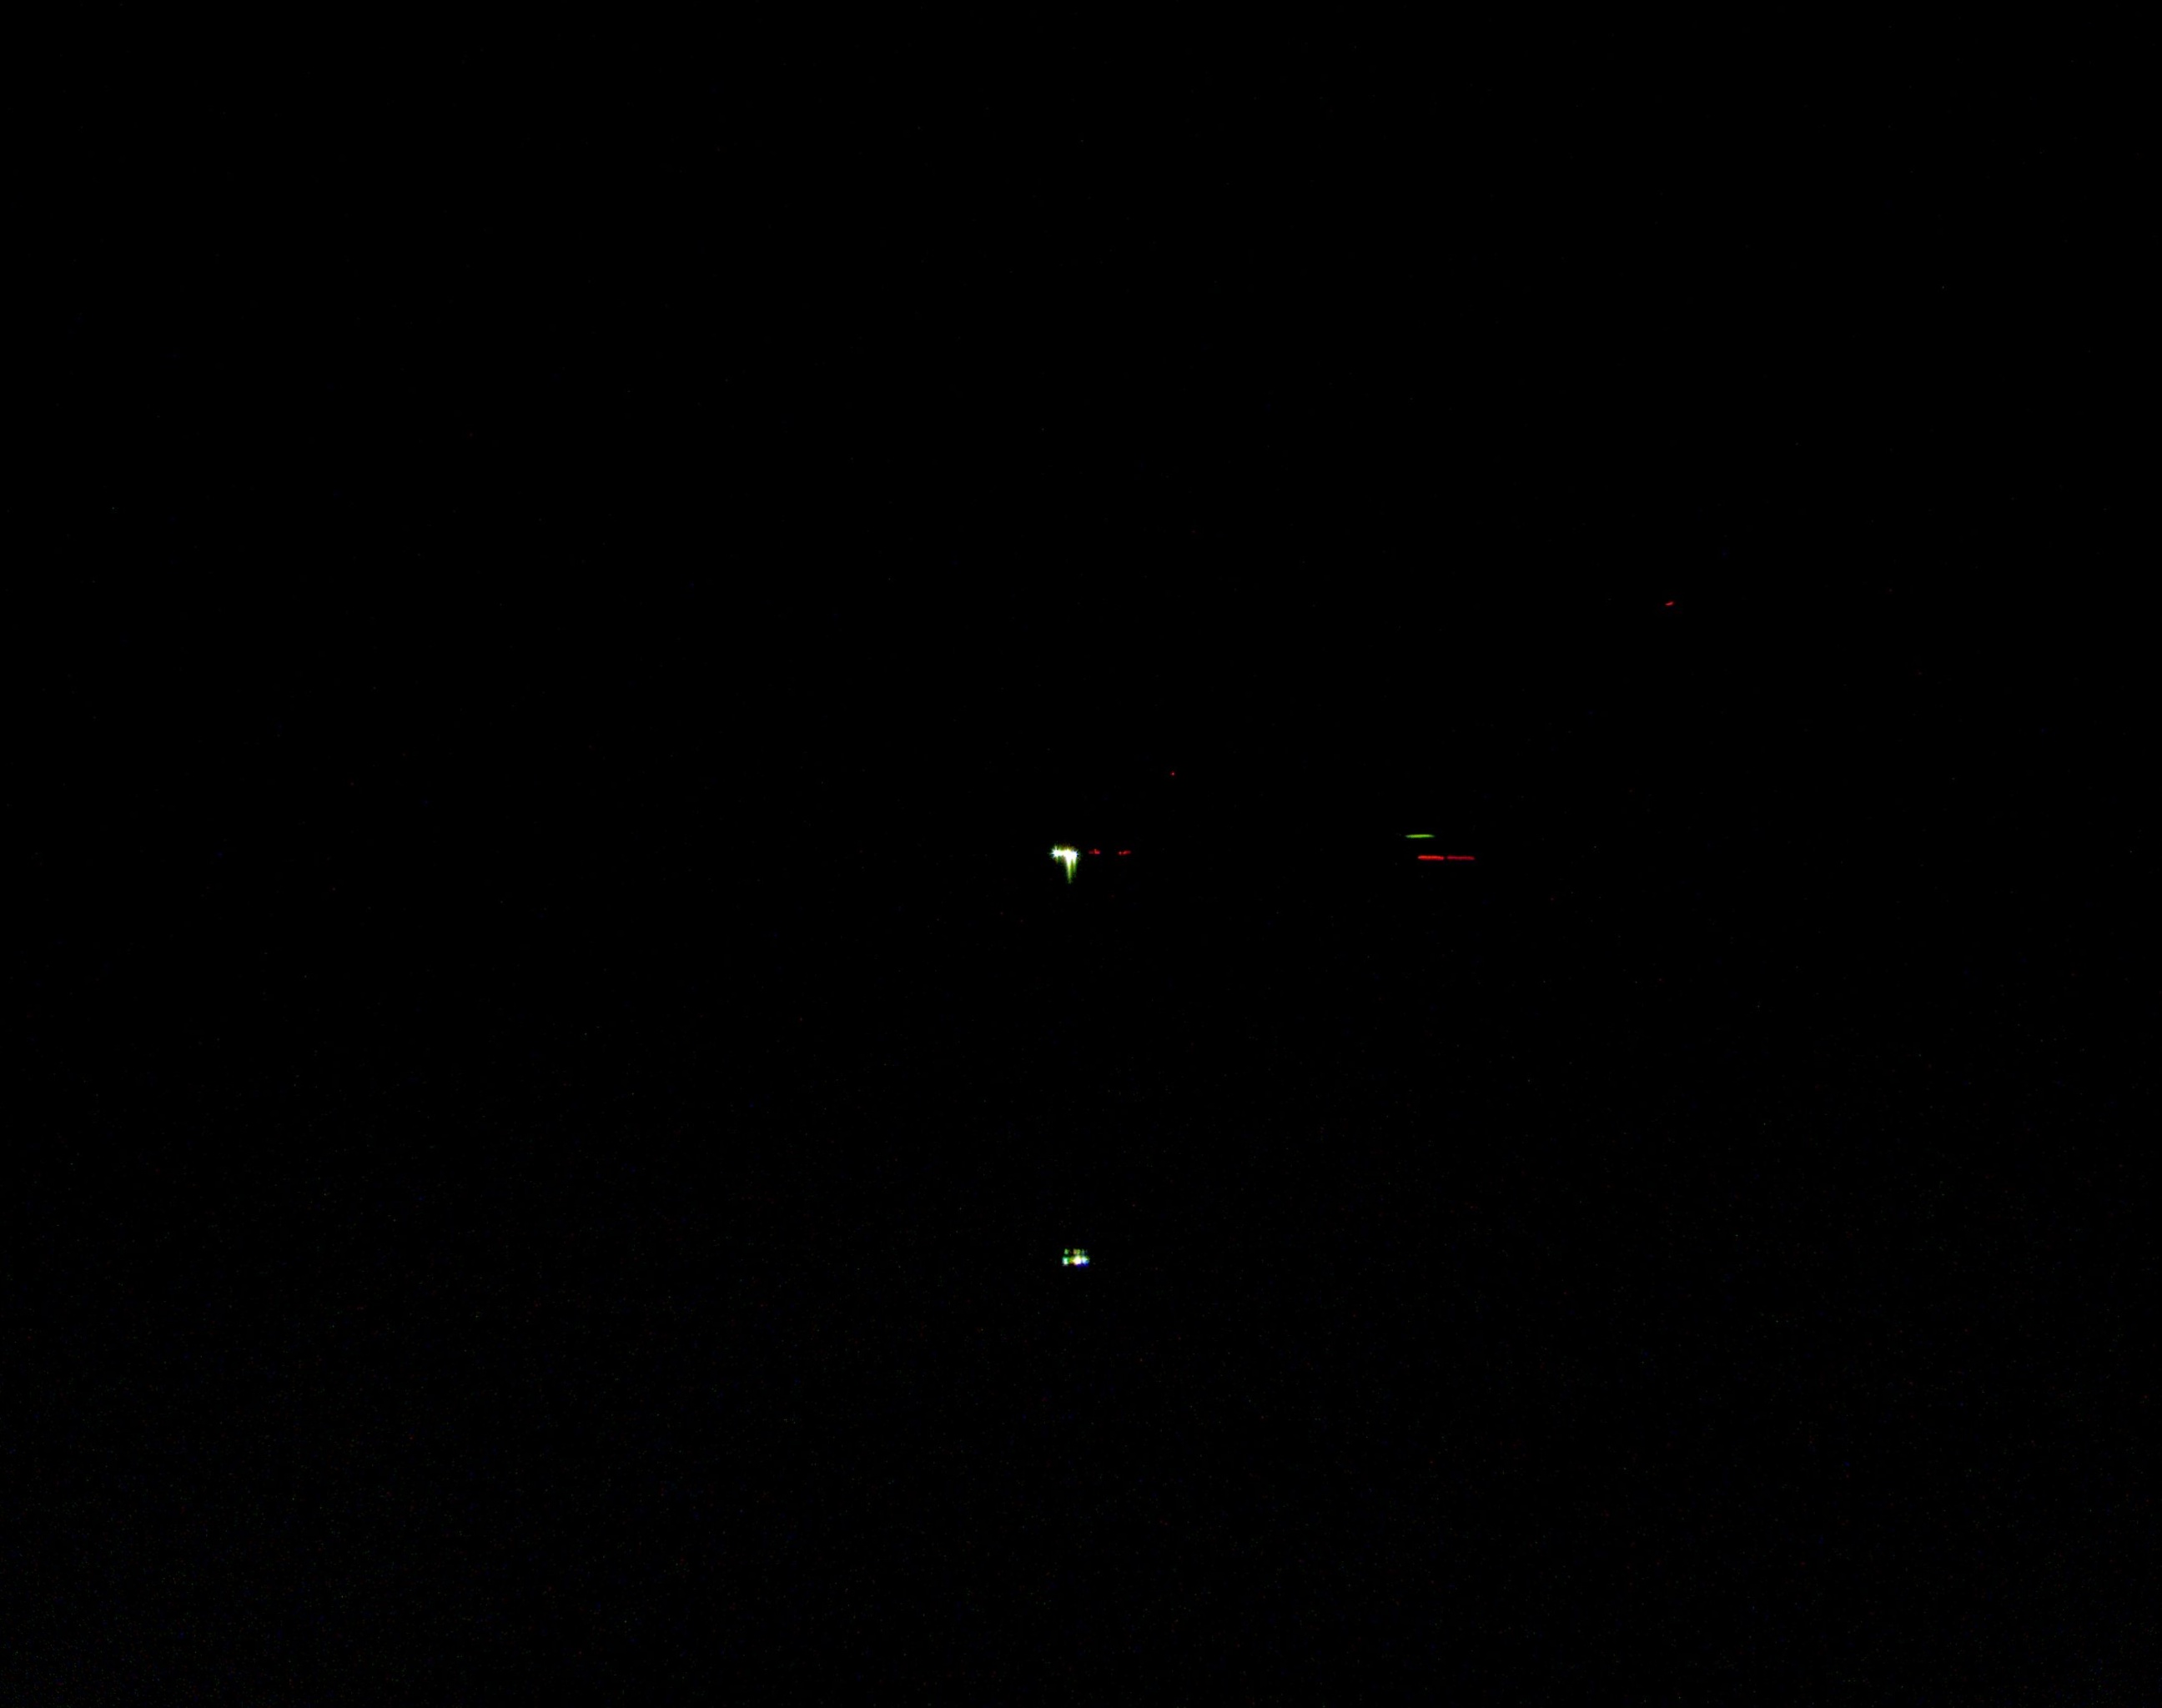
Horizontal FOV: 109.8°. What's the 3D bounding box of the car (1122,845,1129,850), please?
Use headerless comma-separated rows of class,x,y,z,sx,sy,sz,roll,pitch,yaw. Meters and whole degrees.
car,15.614,-2.249,266.563,2.014,1.641,5.108,-2,1,-1

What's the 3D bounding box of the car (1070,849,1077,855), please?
car,-2.071,-0.467,211.671,1.860,1.609,3.999,-1,1,-1

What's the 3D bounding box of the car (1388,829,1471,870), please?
car,22.843,-0.339,50.201,2.397,2.438,6.669,-2,1,0
